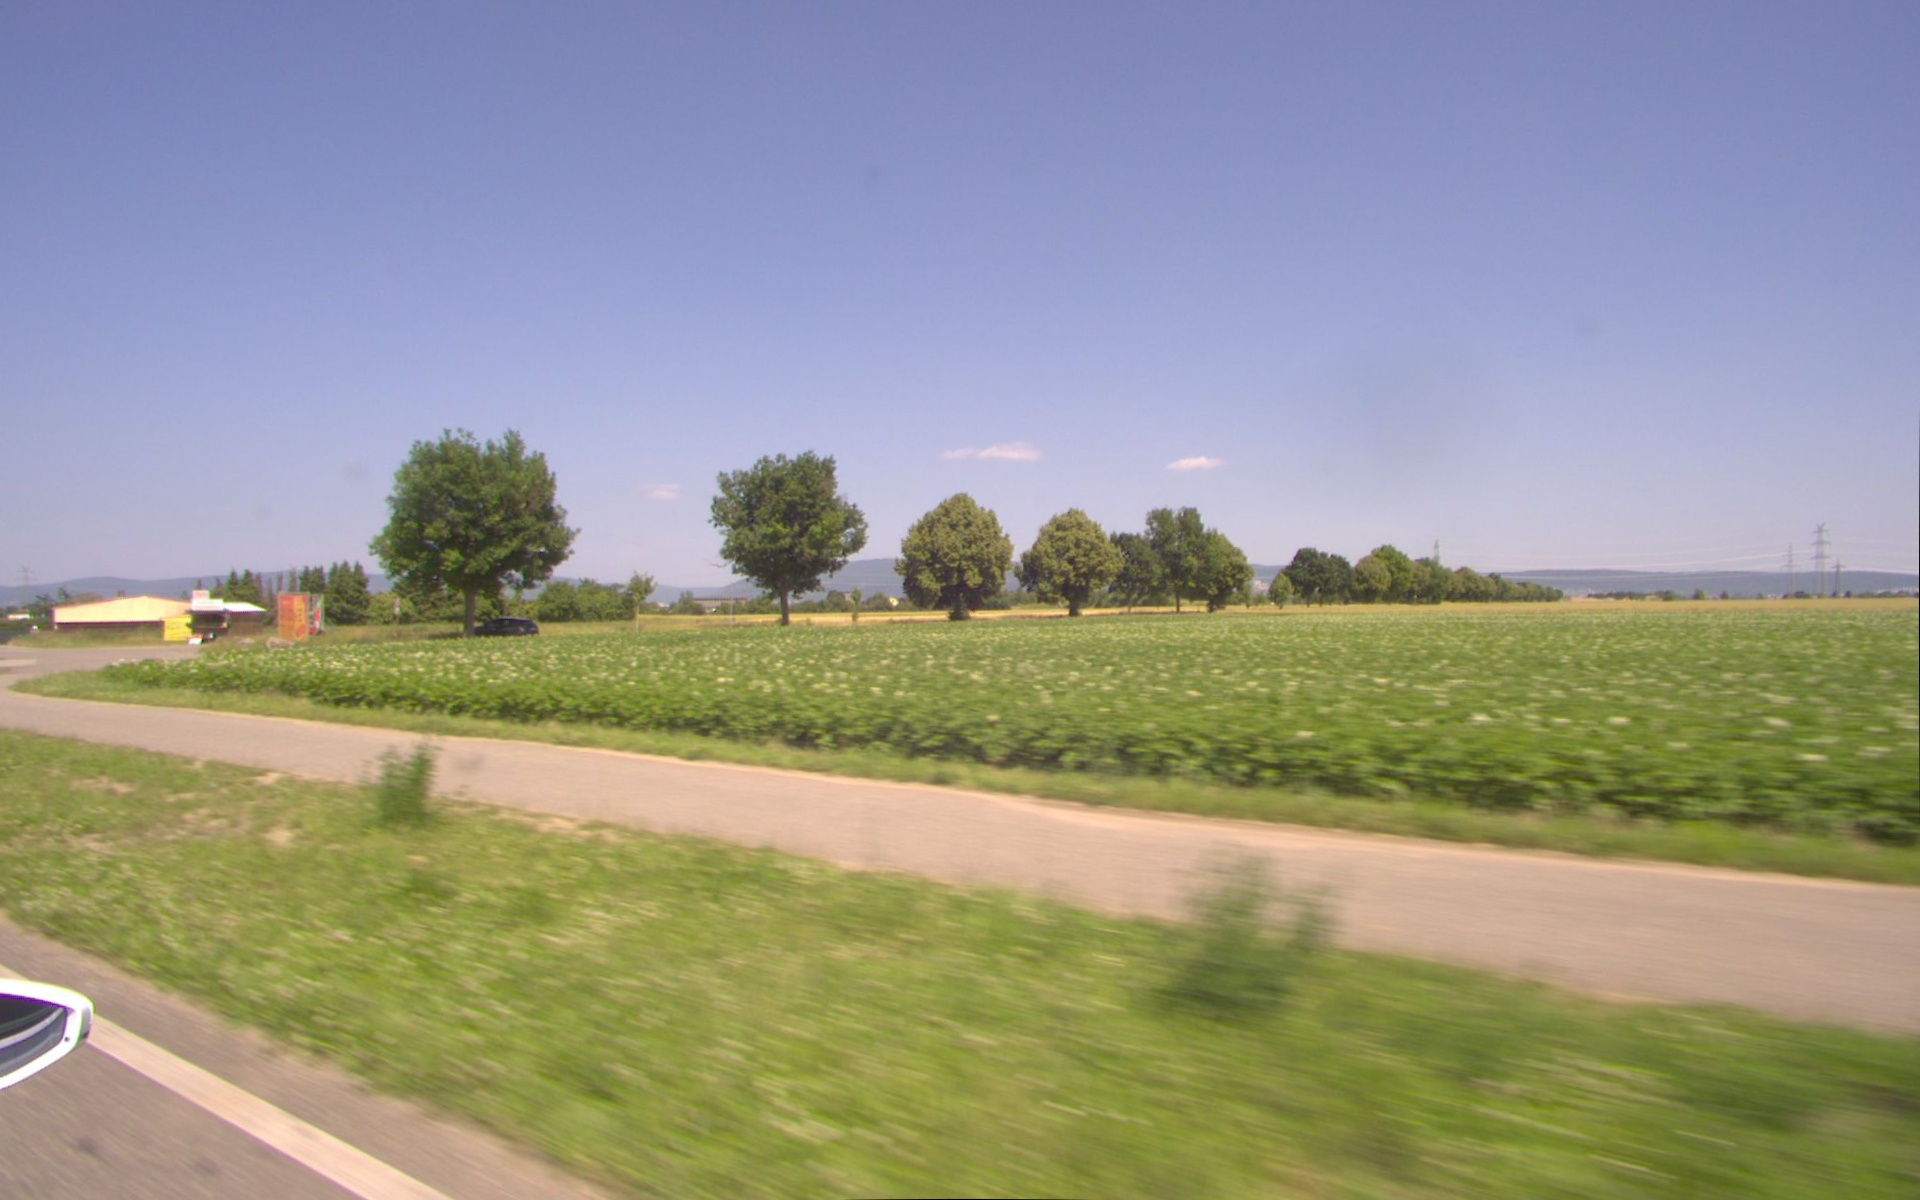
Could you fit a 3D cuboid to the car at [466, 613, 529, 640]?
[{"bbox_3d":[-27.328,1.518,59.136,3.831,1.547,1.751,0,0,35],"label":"car"}]
